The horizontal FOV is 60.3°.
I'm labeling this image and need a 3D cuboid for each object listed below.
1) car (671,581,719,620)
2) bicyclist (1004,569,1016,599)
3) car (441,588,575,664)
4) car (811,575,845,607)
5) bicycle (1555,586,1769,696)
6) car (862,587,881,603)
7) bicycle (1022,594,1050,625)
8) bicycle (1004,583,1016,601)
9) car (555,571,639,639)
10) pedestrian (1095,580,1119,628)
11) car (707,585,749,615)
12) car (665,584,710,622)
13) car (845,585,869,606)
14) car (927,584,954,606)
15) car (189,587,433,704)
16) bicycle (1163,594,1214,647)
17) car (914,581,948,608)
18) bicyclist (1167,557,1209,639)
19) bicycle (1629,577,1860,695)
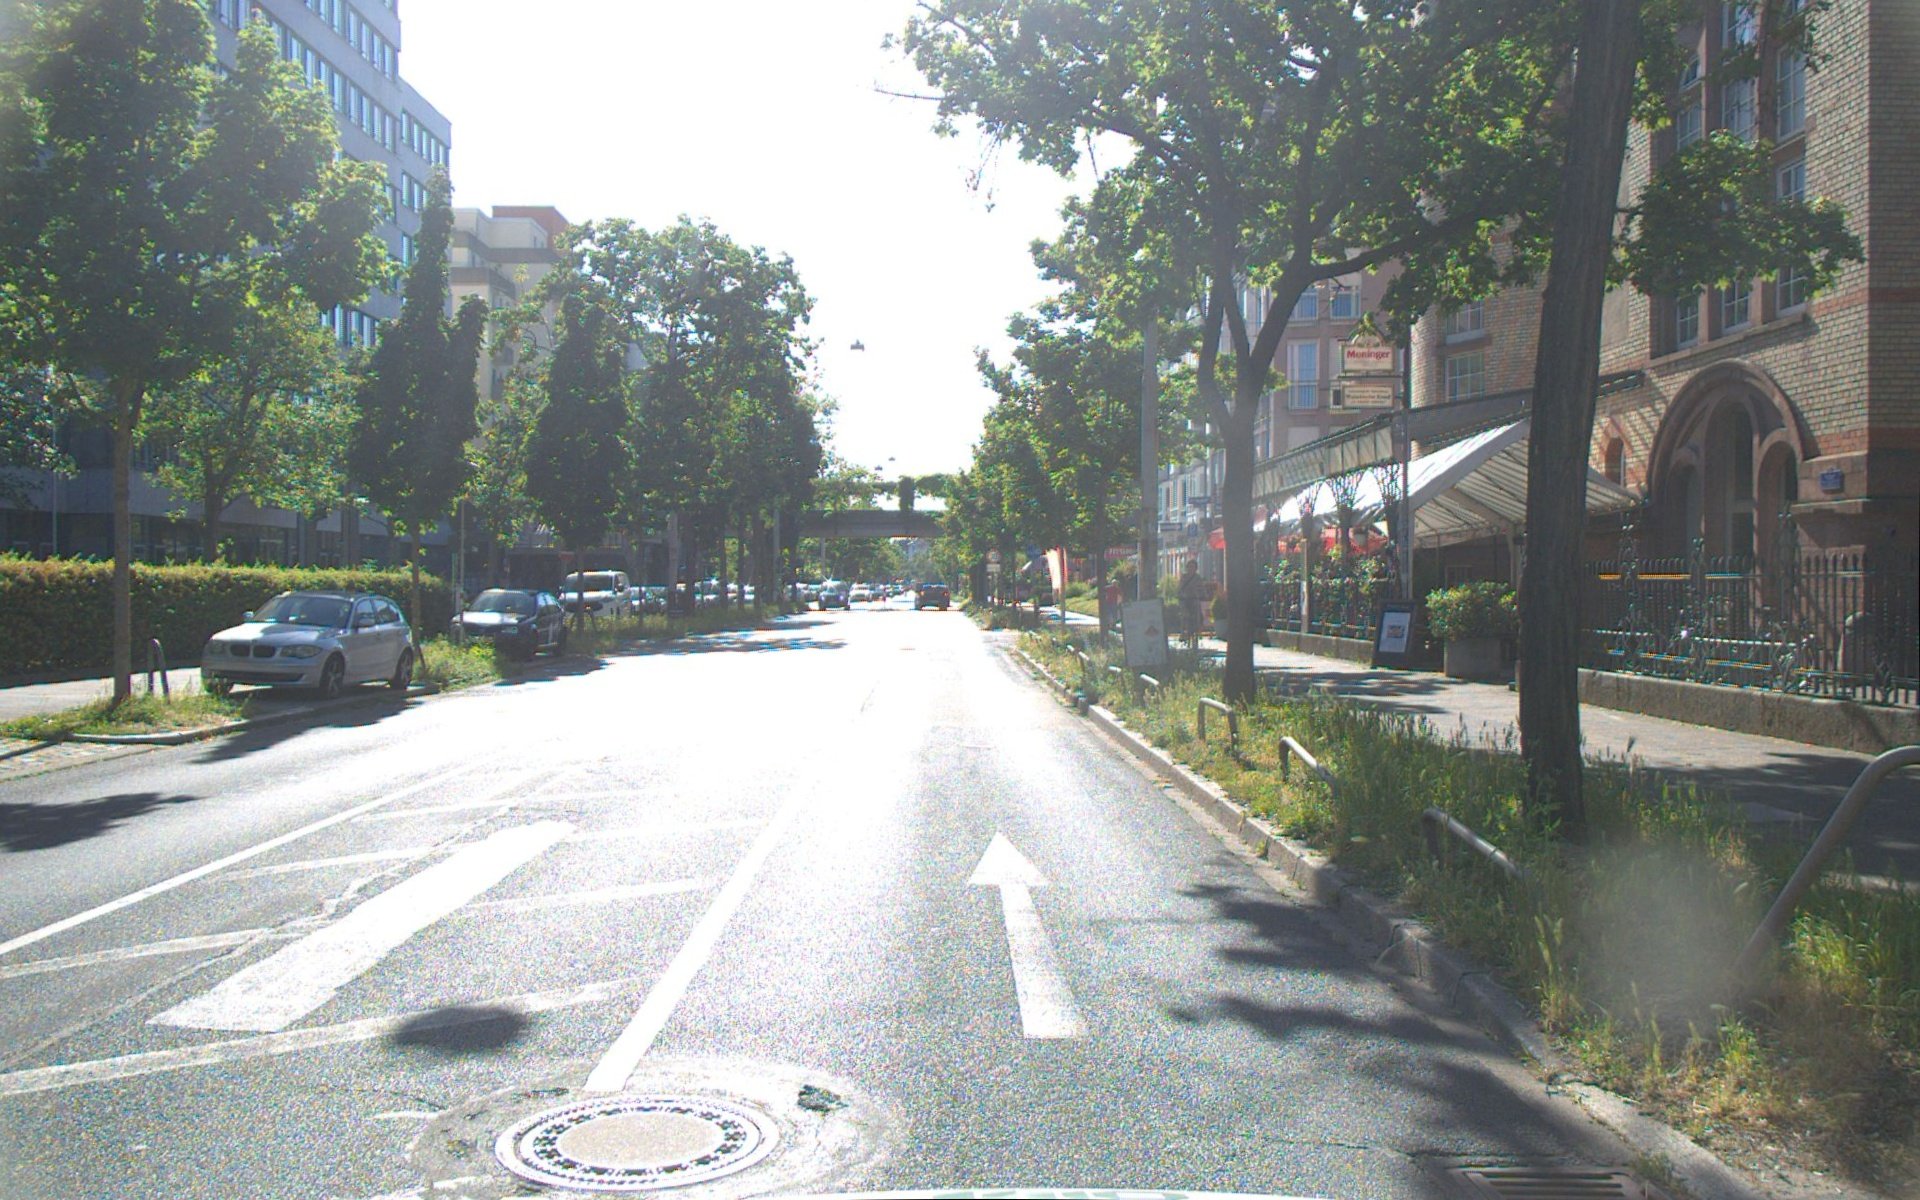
[{"bbox_3d":[-13.286,0.011,83.243,1.818,1.882,4.560,1,0,-2],"label":"car"},{"bbox_3d":[2.986,-0.952,98.493,0.654,1.725,0.889,1,0,-1],"label":"bicyclist"},{"bbox_3d":[-9.453,0.504,34.884,1.677,1.484,4.072,1,0,0],"label":"car"},{"bbox_3d":[-8.059,-0.530,101.174,1.818,1.857,4.608,-2,1,-2],"label":"car"},{"bbox_3d":[7.832,0.449,18.487,2.154,1.199,0.686,0,-1,-7],"label":"bicycle"},{"bbox_3d":[-8.871,-0.513,166.022,1.818,1.465,4.317,-2,1,-2],"label":"car"},{"bbox_3d":[2.786,0.332,60.371,0.578,1.084,2.024,0,1,15],"label":"bicycle"},{"bbox_3d":[2.981,-0.469,98.512,0.577,1.045,1.859,0,0,-2],"label":"bicycle"},{"bbox_3d":[-12.213,0.147,55.984,1.942,2.112,5.193,-2,1,-4],"label":"car"},{"bbox_3d":[5.049,0.137,56.870,0.641,1.632,0.602,-3,0,-7],"label":"pedestrian"},{"bbox_3d":[-12.783,-0.035,91.254,1.818,1.595,3.871,1,0,-1],"label":"car"},{"bbox_3d":[-12.688,0.125,77.296,1.820,1.713,4.658,1,0,-7],"label":"car"},{"bbox_3d":[-8.399,-0.400,135.264,1.818,1.595,4.714,-2,0,-2],"label":"car"},{"bbox_3d":[-1.372,-0.364,116.154,1.817,1.549,4.319,1,0,0],"label":"car"},{"bbox_3d":[-9.122,0.570,23.636,1.653,1.407,4.192,4,1,1],"label":"car"},{"bbox_3d":[4.620,0.412,33.544,0.671,1.045,2.095,0,0,-2],"label":"bicycle"},{"bbox_3d":[-1.802,-0.351,100.606,1.945,1.628,4.138,0,1,-3],"label":"car"},{"bbox_3d":[4.623,-0.036,33.556,0.686,1.627,0.954,0,-1,-2],"label":"bicyclist"},{"bbox_3d":[8.181,0.368,17.284,2.154,1.199,0.686,0,-1,-7],"label":"bicycle"}]
